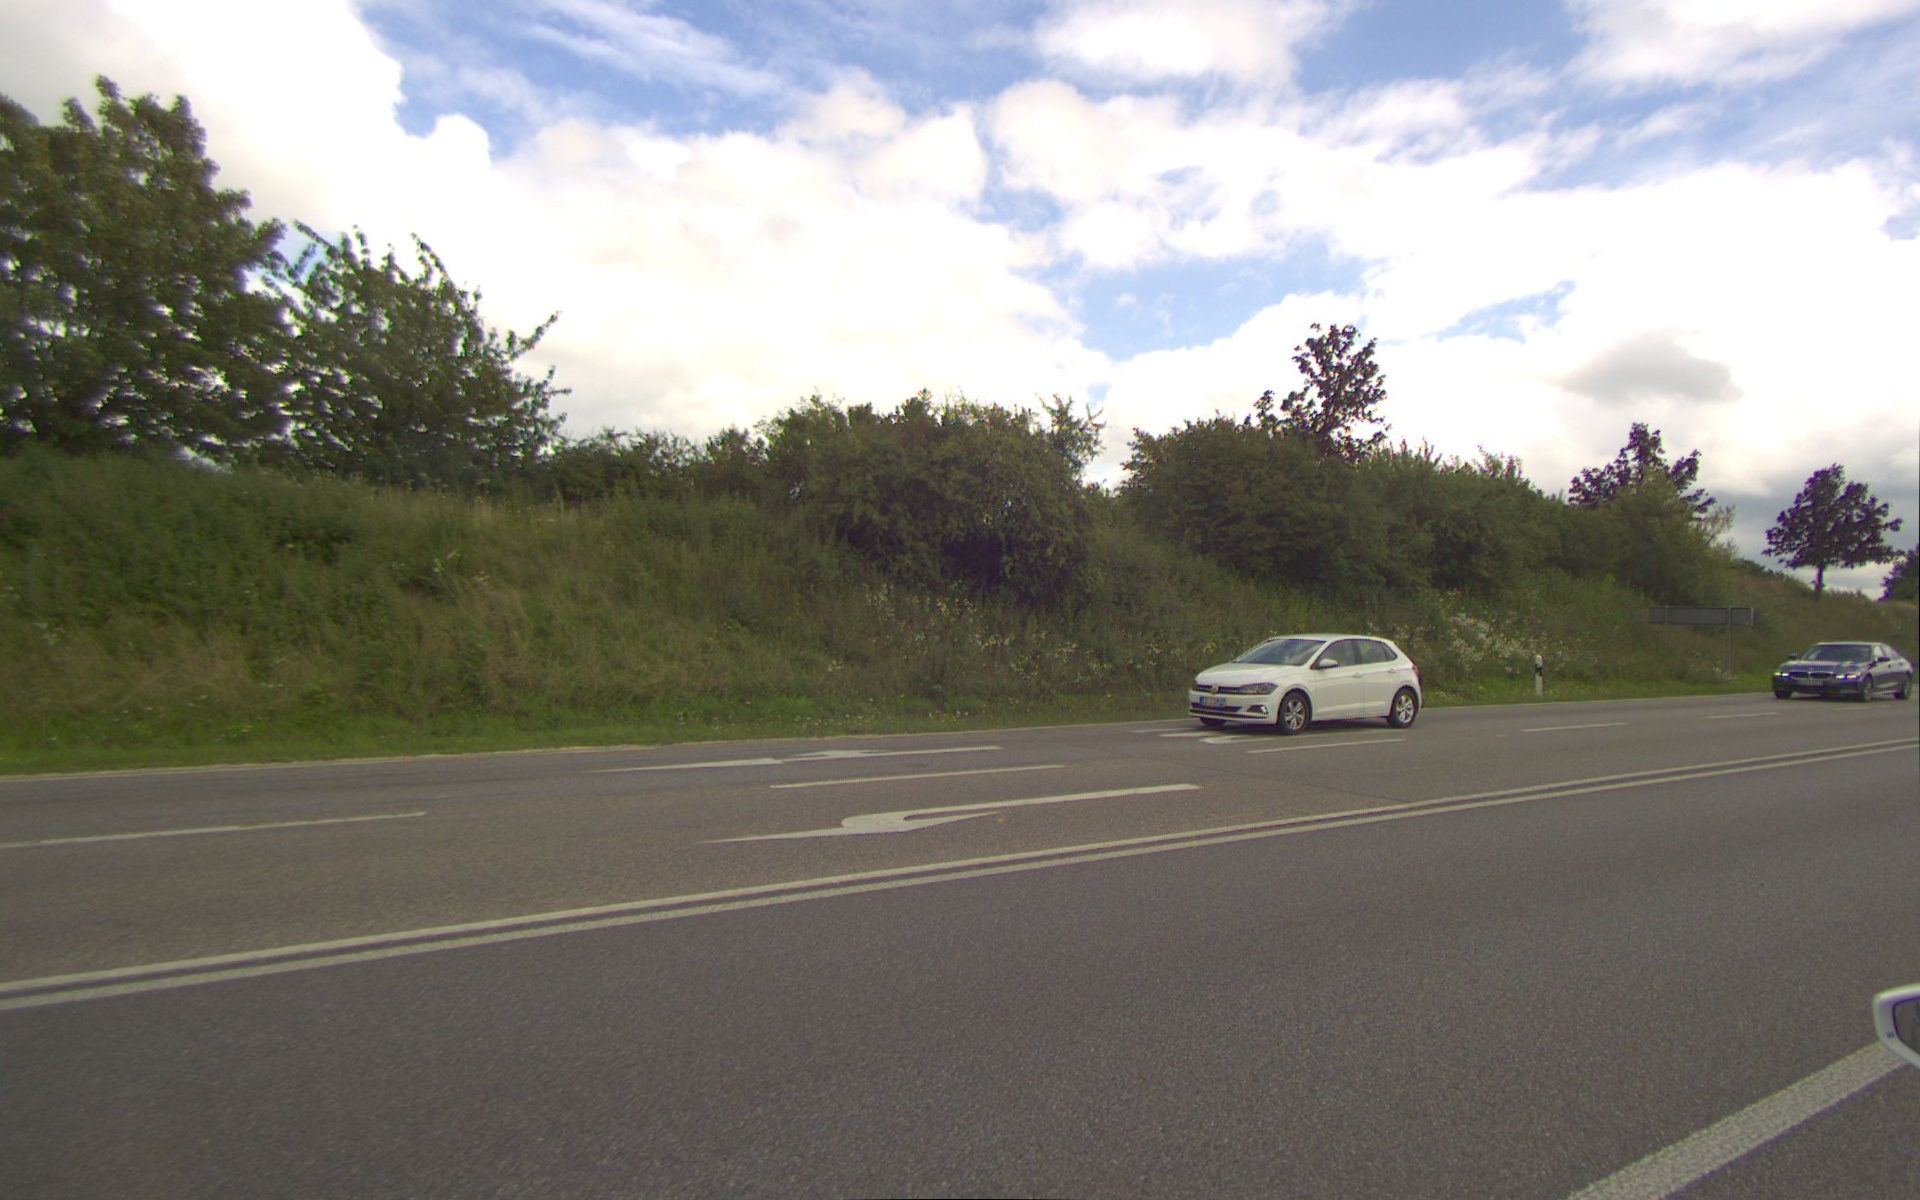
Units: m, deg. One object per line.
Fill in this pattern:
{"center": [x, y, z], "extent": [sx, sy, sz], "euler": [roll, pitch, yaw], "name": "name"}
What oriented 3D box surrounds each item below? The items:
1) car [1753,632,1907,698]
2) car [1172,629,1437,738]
{"center": [22.181, 1.612, 25.572], "extent": [3.958, 1.528, 1.982], "euler": [2, -1, -33], "name": "car"}
{"center": [5.372, 1.222, 15.537], "extent": [4.099, 1.461, 1.659], "euler": [2, -1, -32], "name": "car"}
